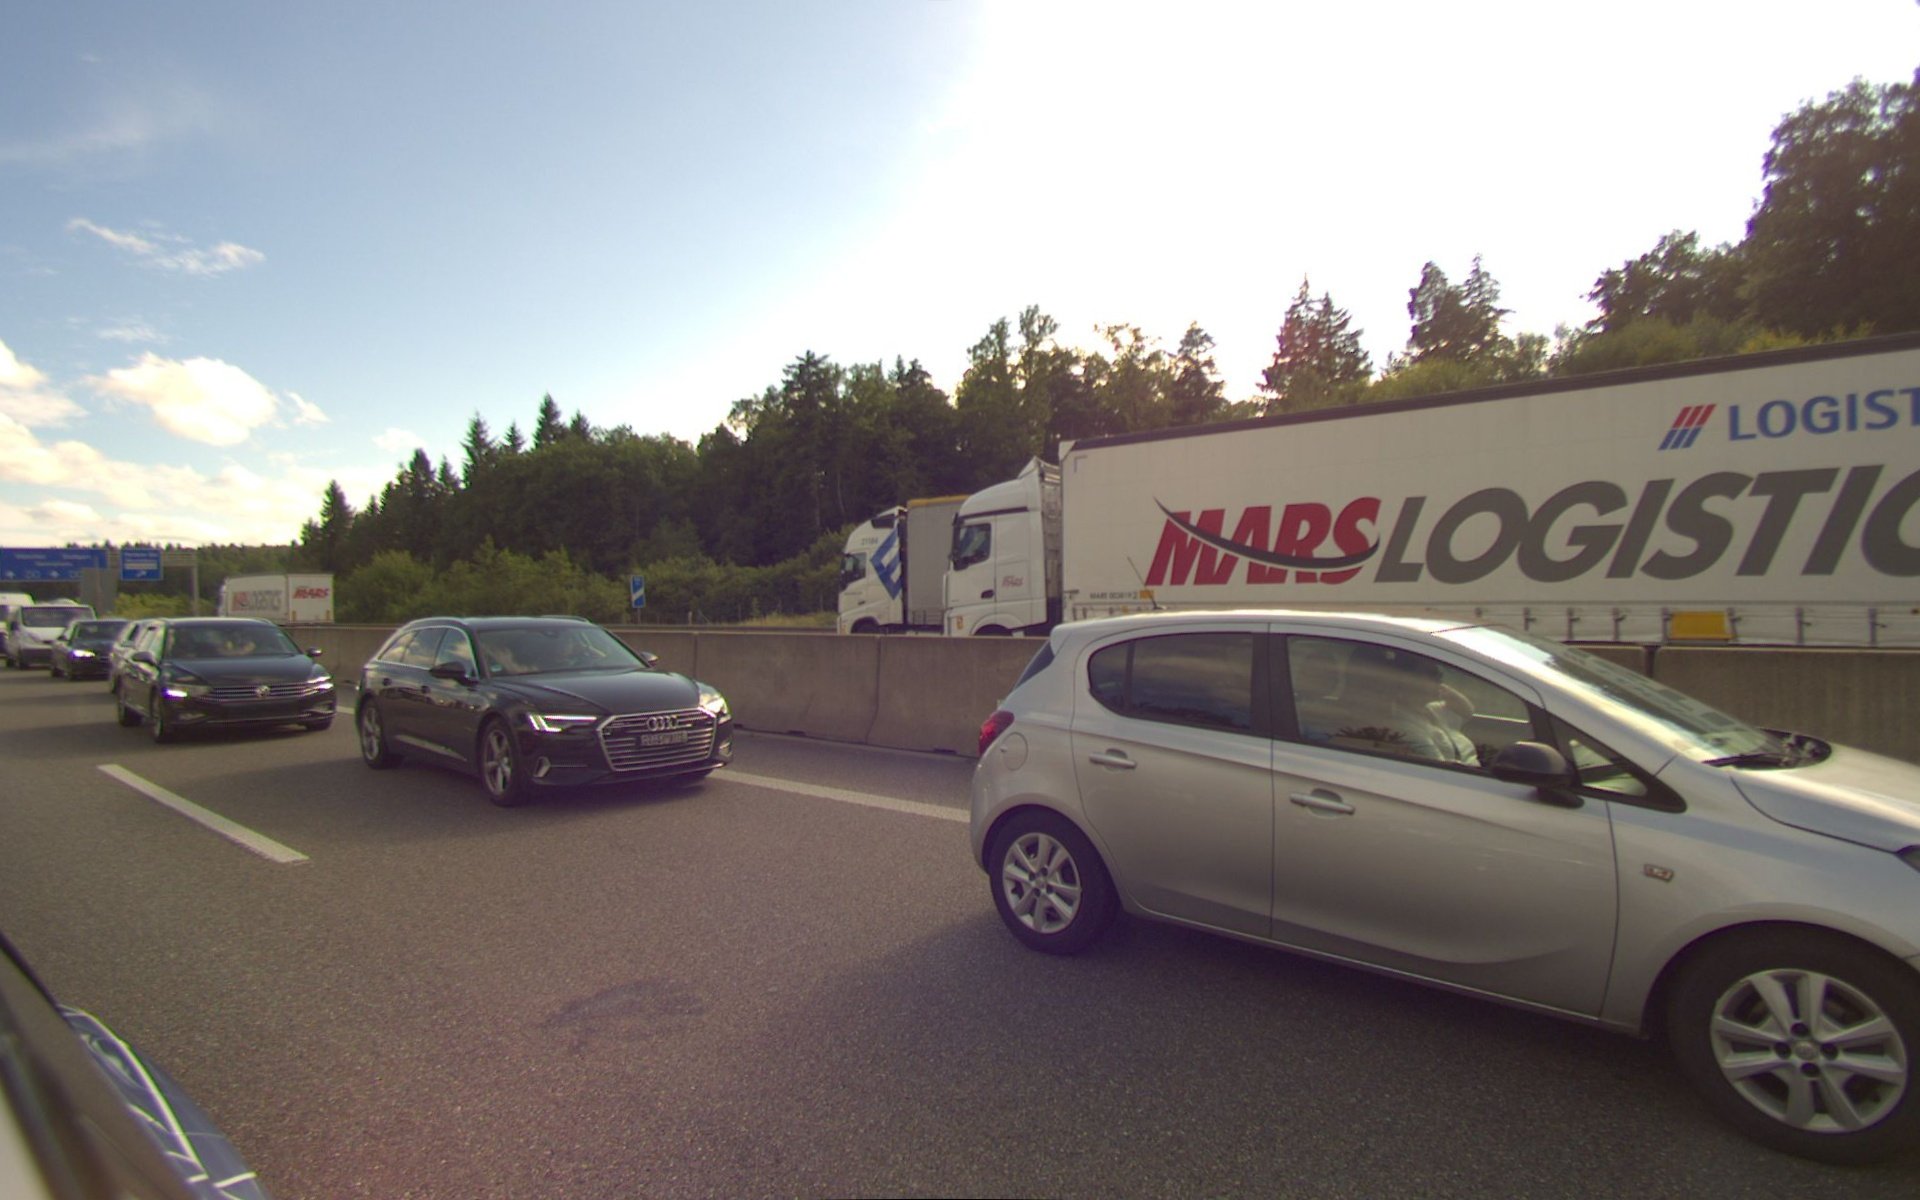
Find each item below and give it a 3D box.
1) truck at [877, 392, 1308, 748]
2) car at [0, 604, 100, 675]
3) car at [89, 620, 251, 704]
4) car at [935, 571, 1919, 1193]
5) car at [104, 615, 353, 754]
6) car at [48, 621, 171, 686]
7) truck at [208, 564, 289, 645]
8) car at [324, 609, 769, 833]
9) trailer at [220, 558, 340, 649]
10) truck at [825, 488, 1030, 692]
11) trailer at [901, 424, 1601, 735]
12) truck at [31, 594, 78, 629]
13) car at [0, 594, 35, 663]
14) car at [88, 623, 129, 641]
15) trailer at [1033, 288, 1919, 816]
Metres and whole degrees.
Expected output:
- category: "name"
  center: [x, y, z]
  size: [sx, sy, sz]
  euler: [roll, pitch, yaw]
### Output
- category: "truck"
  center: [2.110, -0.417, 18.108]
  size: [7.138, 5.139, 3.056]
  euler: [-1, 0, 41]
- category: "car"
  center: [-28.210, 1.171, 31.237]
  size: [4.847, 1.980, 1.922]
  euler: [-1, 0, 42]
- category: "car"
  center: [-15.855, 1.153, 20.220]
  size: [4.665, 1.442, 1.785]
  euler: [-1, 0, 42]
- category: "car"
  center: [1.965, 0.700, 3.848]
  size: [4.039, 1.477, 1.728]
  euler: [-2, -2, 42]
- category: "car"
  center: [-9.699, 0.969, 13.262]
  size: [4.570, 1.488, 1.890]
  euler: [-1, -1, 44]
- category: "car"
  center: [-21.042, 1.257, 24.984]
  size: [3.993, 1.442, 1.785]
  euler: [-1, 0, 42]
- category: "truck"
  center: [-49.021, 0.324, 69.674]
  size: [6.880, 5.292, 3.007]
  euler: [-1, 0, 41]
- category: "car"
  center: [-3.967, 0.867, 9.180]
  size: [4.851, 1.483, 1.862]
  euler: [-1, 0, 43]
- category: "trailer"
  center: [-44.057, 0.246, 65.304]
  size: [13.829, 5.320, 3.010]
  euler: [-1, 0, 41]
- category: "truck"
  center: [-0.919, -0.241, 27.008]
  size: [4.763, 4.895, 2.901]
  euler: [-1, 0, 41]
- category: "trailer"
  center: [4.959, -0.284, 21.788]
  size: [14.647, 4.866, 2.896]
  euler: [-1, 0, 41]
- category: "truck"
  center: [-119.009, 1.468, 132.969]
  size: [13.904, 4.387, 2.902]
  euler: [-1, 0, 41]
- category: "car"
  center: [-38.468, 1.118, 40.148]
  size: [5.860, 2.591, 2.027]
  euler: [-1, -2, 42]
- category: "car"
  center: [-70.401, 2.642, 83.648]
  size: [4.322, 1.438, 1.934]
  euler: [-1, 0, 41]
- category: "trailer"
  center: [7.434, -0.448, 13.477]
  size: [13.828, 5.112, 3.056]
  euler: [-1, 0, 41]
